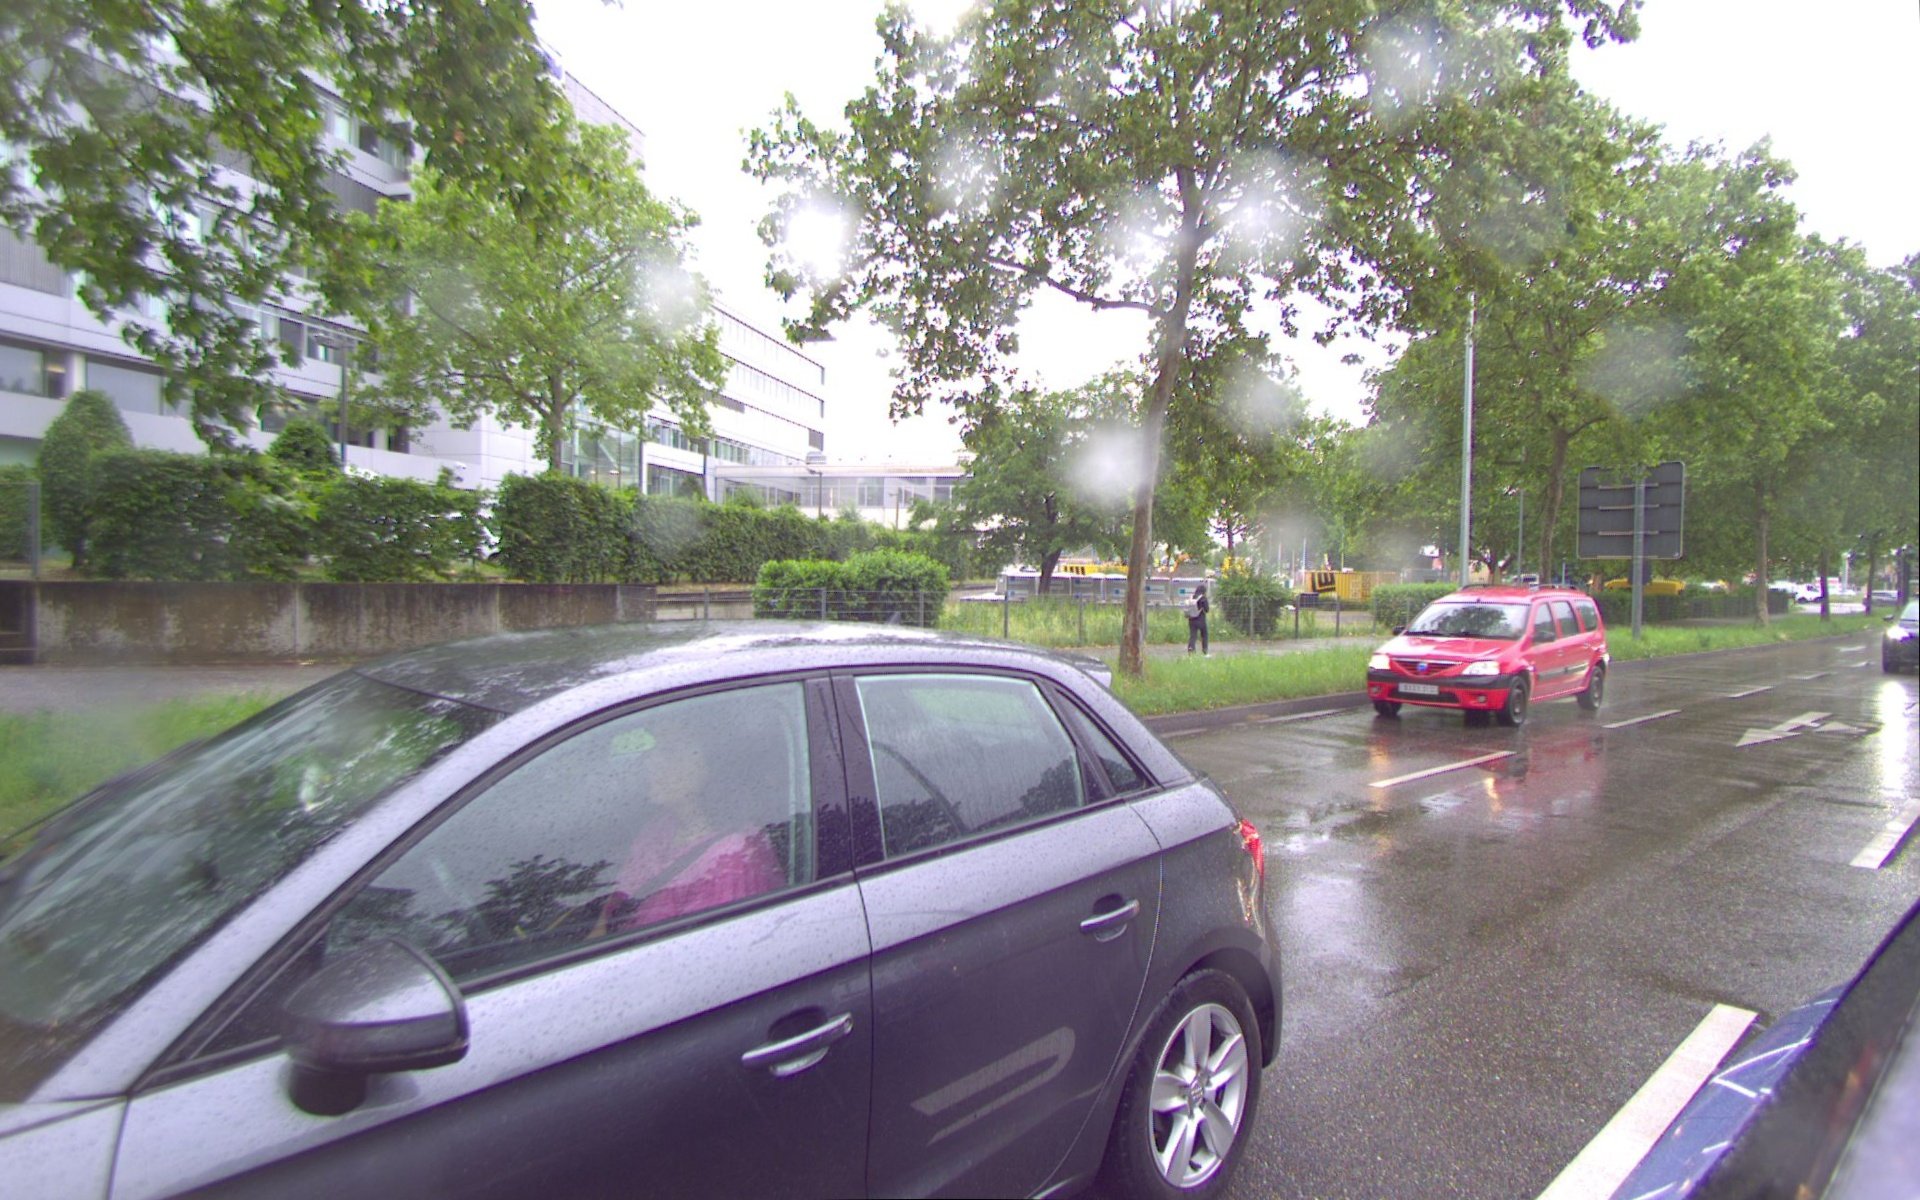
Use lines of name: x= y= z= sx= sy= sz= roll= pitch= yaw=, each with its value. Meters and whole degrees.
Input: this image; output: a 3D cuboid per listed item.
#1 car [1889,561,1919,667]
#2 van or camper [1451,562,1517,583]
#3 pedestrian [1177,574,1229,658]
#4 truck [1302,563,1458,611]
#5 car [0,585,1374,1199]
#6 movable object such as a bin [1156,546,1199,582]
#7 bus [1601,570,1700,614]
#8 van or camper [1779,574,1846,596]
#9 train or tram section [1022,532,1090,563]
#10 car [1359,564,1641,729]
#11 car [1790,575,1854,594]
car: x=21.541 y=0.262 z=21.642 sx=4.478 sy=2.159 sz=1.934 roll=-1 pitch=0 yaw=-41
van or camper: x=84.026 y=-4.447 z=162.493 sx=8.846 sy=3.196 sz=2.976 roll=0 pitch=2 yaw=14
pedestrian: x=5.368 y=0.333 z=22.328 sx=0.664 sy=1.784 sz=1.059 roll=1 pitch=1 yaw=43
truck: x=28.309 y=-0.895 z=68.758 sx=9.359 sy=3.069 sz=3.070 roll=0 pitch=2 yaw=14
car: x=-0.940 y=0.705 z=2.260 sx=3.932 sy=1.470 sz=1.996 roll=-1 pitch=1 yaw=-43
movable object such as a bin: x=22.402 y=-3.706 z=104.423 sx=3.253 sy=3.670 sz=3.618 roll=0 pitch=2 yaw=-6
bus: x=43.754 y=-0.555 z=64.222 sx=1.964 sy=2.680 sz=4.803 roll=0 pitch=1 yaw=-39
van or camper: x=86.804 y=-1.552 z=103.099 sx=4.830 sy=2.114 sz=1.863 roll=2 pitch=2 yaw=11
train or tram section: x=11.858 y=-6.460 z=124.708 sx=8.238 sy=3.563 sz=2.393 roll=-1 pitch=1 yaw=11
car: x=7.115 y=0.466 z=13.125 sx=4.478 sy=1.791 sz=1.699 roll=-1 pitch=2 yaw=-41
car: x=85.234 y=-1.569 z=100.080 sx=4.391 sy=1.693 sz=1.863 roll=2 pitch=2 yaw=11
